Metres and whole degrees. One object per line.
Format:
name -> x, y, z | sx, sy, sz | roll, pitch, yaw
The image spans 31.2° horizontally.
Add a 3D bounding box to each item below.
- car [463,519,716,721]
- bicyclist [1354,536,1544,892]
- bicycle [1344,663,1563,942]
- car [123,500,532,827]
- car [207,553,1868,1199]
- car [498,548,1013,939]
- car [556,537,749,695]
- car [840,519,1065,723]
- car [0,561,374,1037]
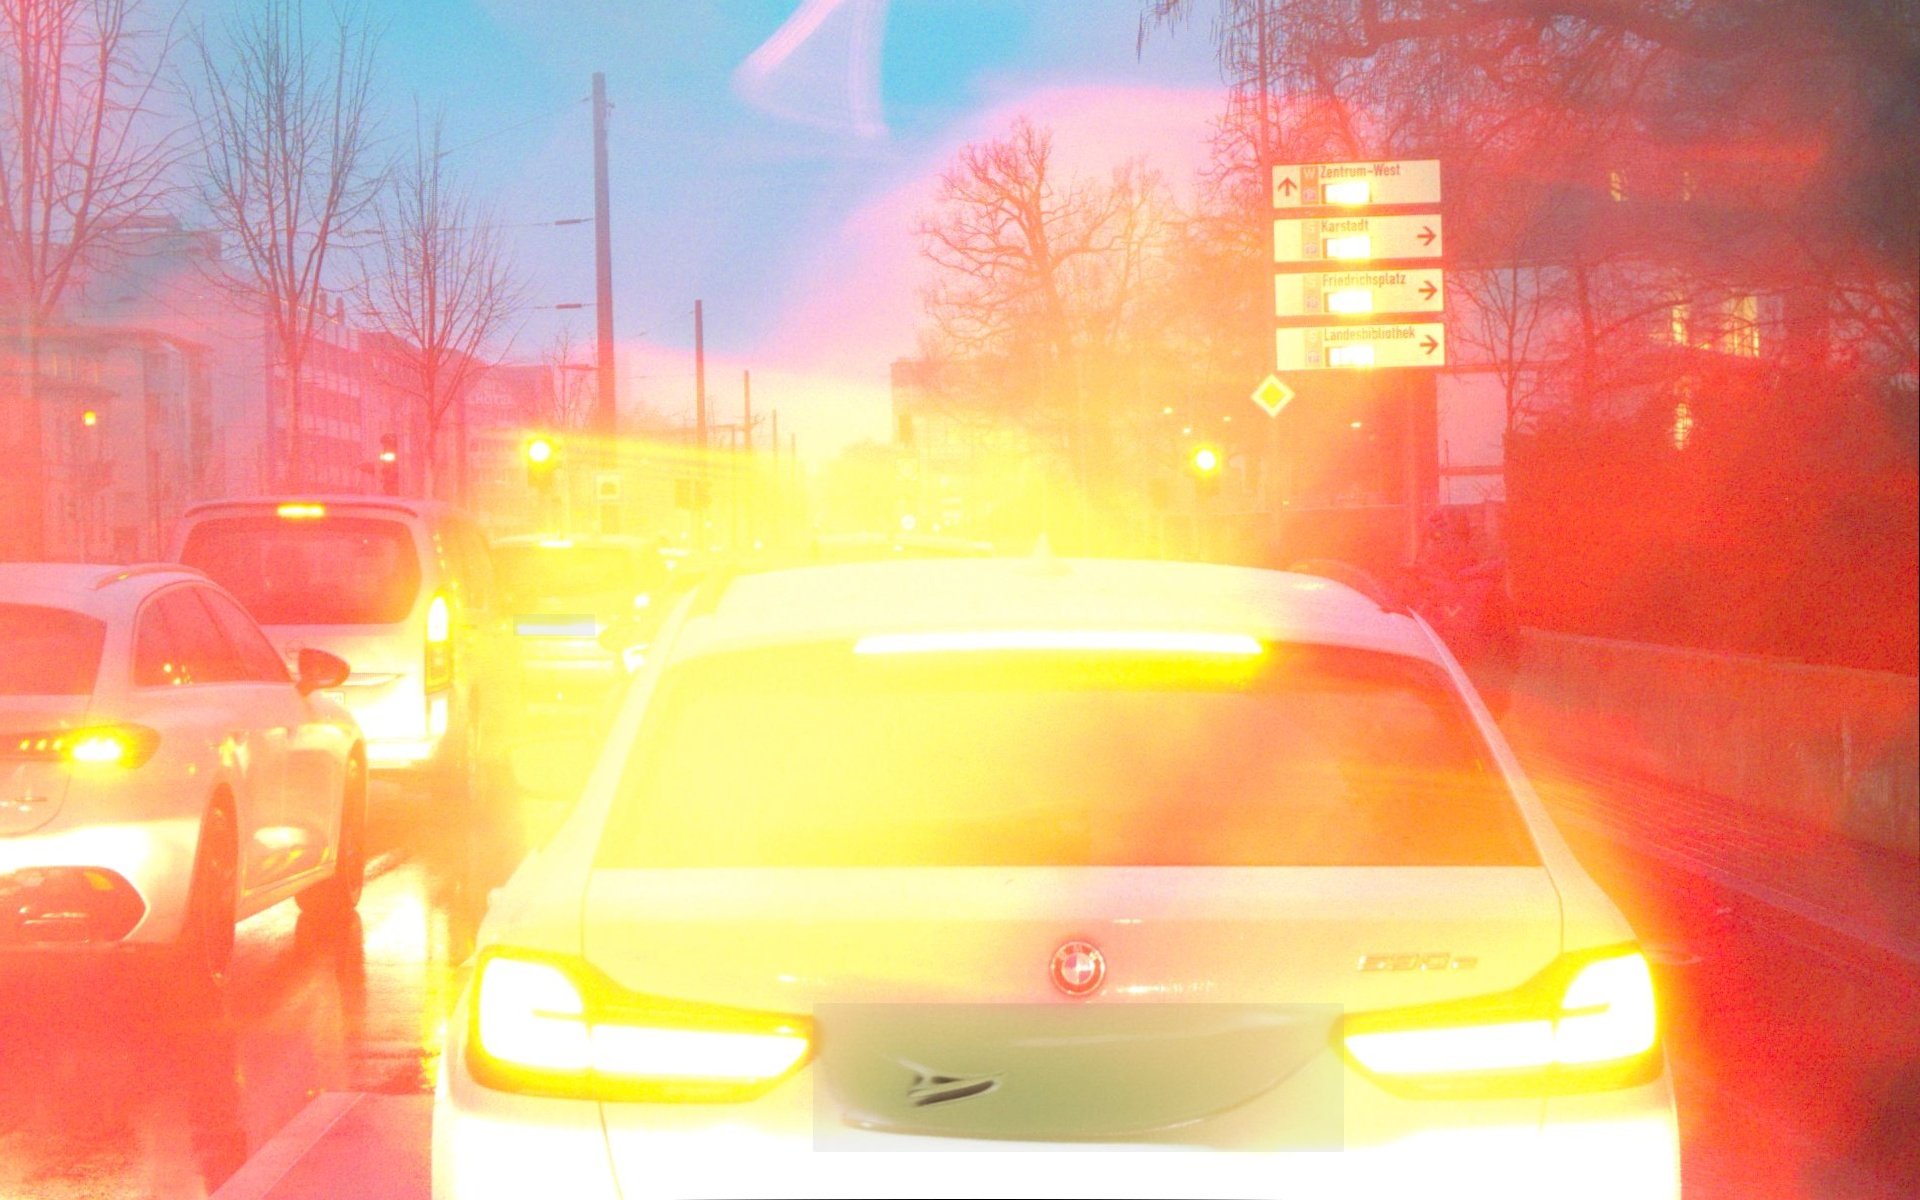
car -> -3.144, 0.124, 29.874 | 1.806, 1.640, 4.000 | 0, 1, 0
bicyclist -> 1.970, 0.439, 13.943 | 0.645, 1.384, 0.890 | -1, 1, 2
bicycle -> 1.985, 0.787, 14.048 | 0.645, 0.963, 2.046 | -1, 1, 2
car -> -3.632, 0.309, 20.490 | 1.793, 1.730, 4.538 | 0, 1, -3
car -> 0.075, 0.685, 6.230 | 1.999, 1.503, 4.164 | 0, 1, -1
car -> -0.795, 0.511, 15.086 | 1.936, 1.452, 4.164 | 0, 1, -1
car -> -3.333, 0.133, 37.904 | 1.806, 1.640, 4.000 | 0, 1, 0
car -> -0.079, 0.132, 29.684 | 1.806, 1.640, 4.000 | 0, 1, 0
car -> -3.381, 0.567, 12.492 | 1.846, 1.400, 4.614 | 0, 1, -2
